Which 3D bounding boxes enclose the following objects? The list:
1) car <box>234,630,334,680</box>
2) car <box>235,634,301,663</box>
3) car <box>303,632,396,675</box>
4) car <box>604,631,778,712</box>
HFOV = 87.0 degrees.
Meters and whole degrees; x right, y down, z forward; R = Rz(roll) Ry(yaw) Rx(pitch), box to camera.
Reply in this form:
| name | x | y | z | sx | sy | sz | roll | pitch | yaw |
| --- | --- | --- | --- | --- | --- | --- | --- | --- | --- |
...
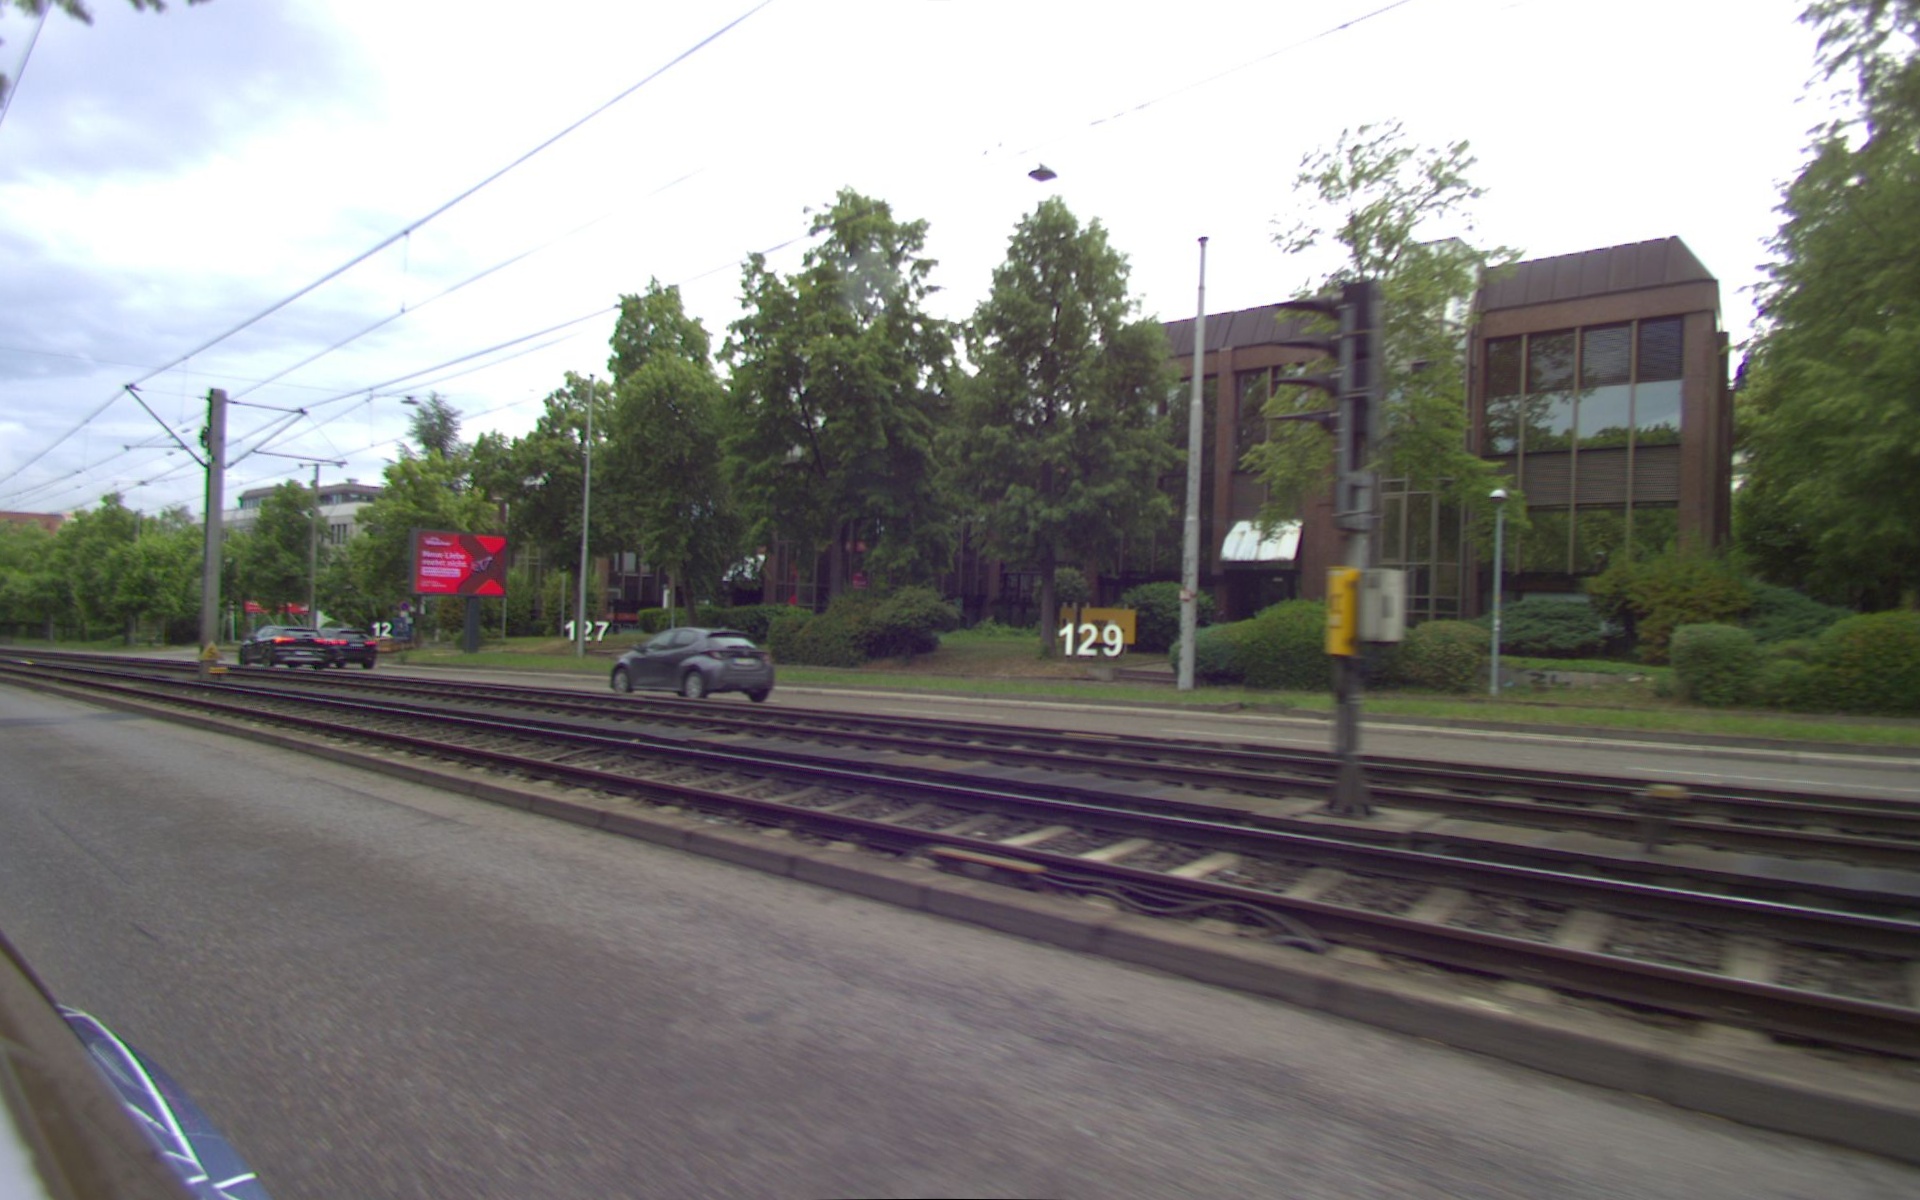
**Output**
| name | x | y | z | sx | sy | sz | roll | pitch | yaw |
| --- | --- | --- | --- | --- | --- | --- | --- | --- | --- |
| car | -24.248 | 1.922 | 36.261 | 4.235 | 1.669 | 1.816 | -1 | -3 | 39 |
| car | -37.420 | 2.590 | 54.699 | 4.619 | 1.542 | 1.776 | -2 | -3 | 41 |
| car | -24.799 | 2.132 | 41.059 | 4.616 | 1.669 | 1.991 | -2 | -3 | 43 |
| car | -5.524 | 1.387 | 20.597 | 3.606 | 1.472 | 1.663 | -1 | -3 | 41 |
